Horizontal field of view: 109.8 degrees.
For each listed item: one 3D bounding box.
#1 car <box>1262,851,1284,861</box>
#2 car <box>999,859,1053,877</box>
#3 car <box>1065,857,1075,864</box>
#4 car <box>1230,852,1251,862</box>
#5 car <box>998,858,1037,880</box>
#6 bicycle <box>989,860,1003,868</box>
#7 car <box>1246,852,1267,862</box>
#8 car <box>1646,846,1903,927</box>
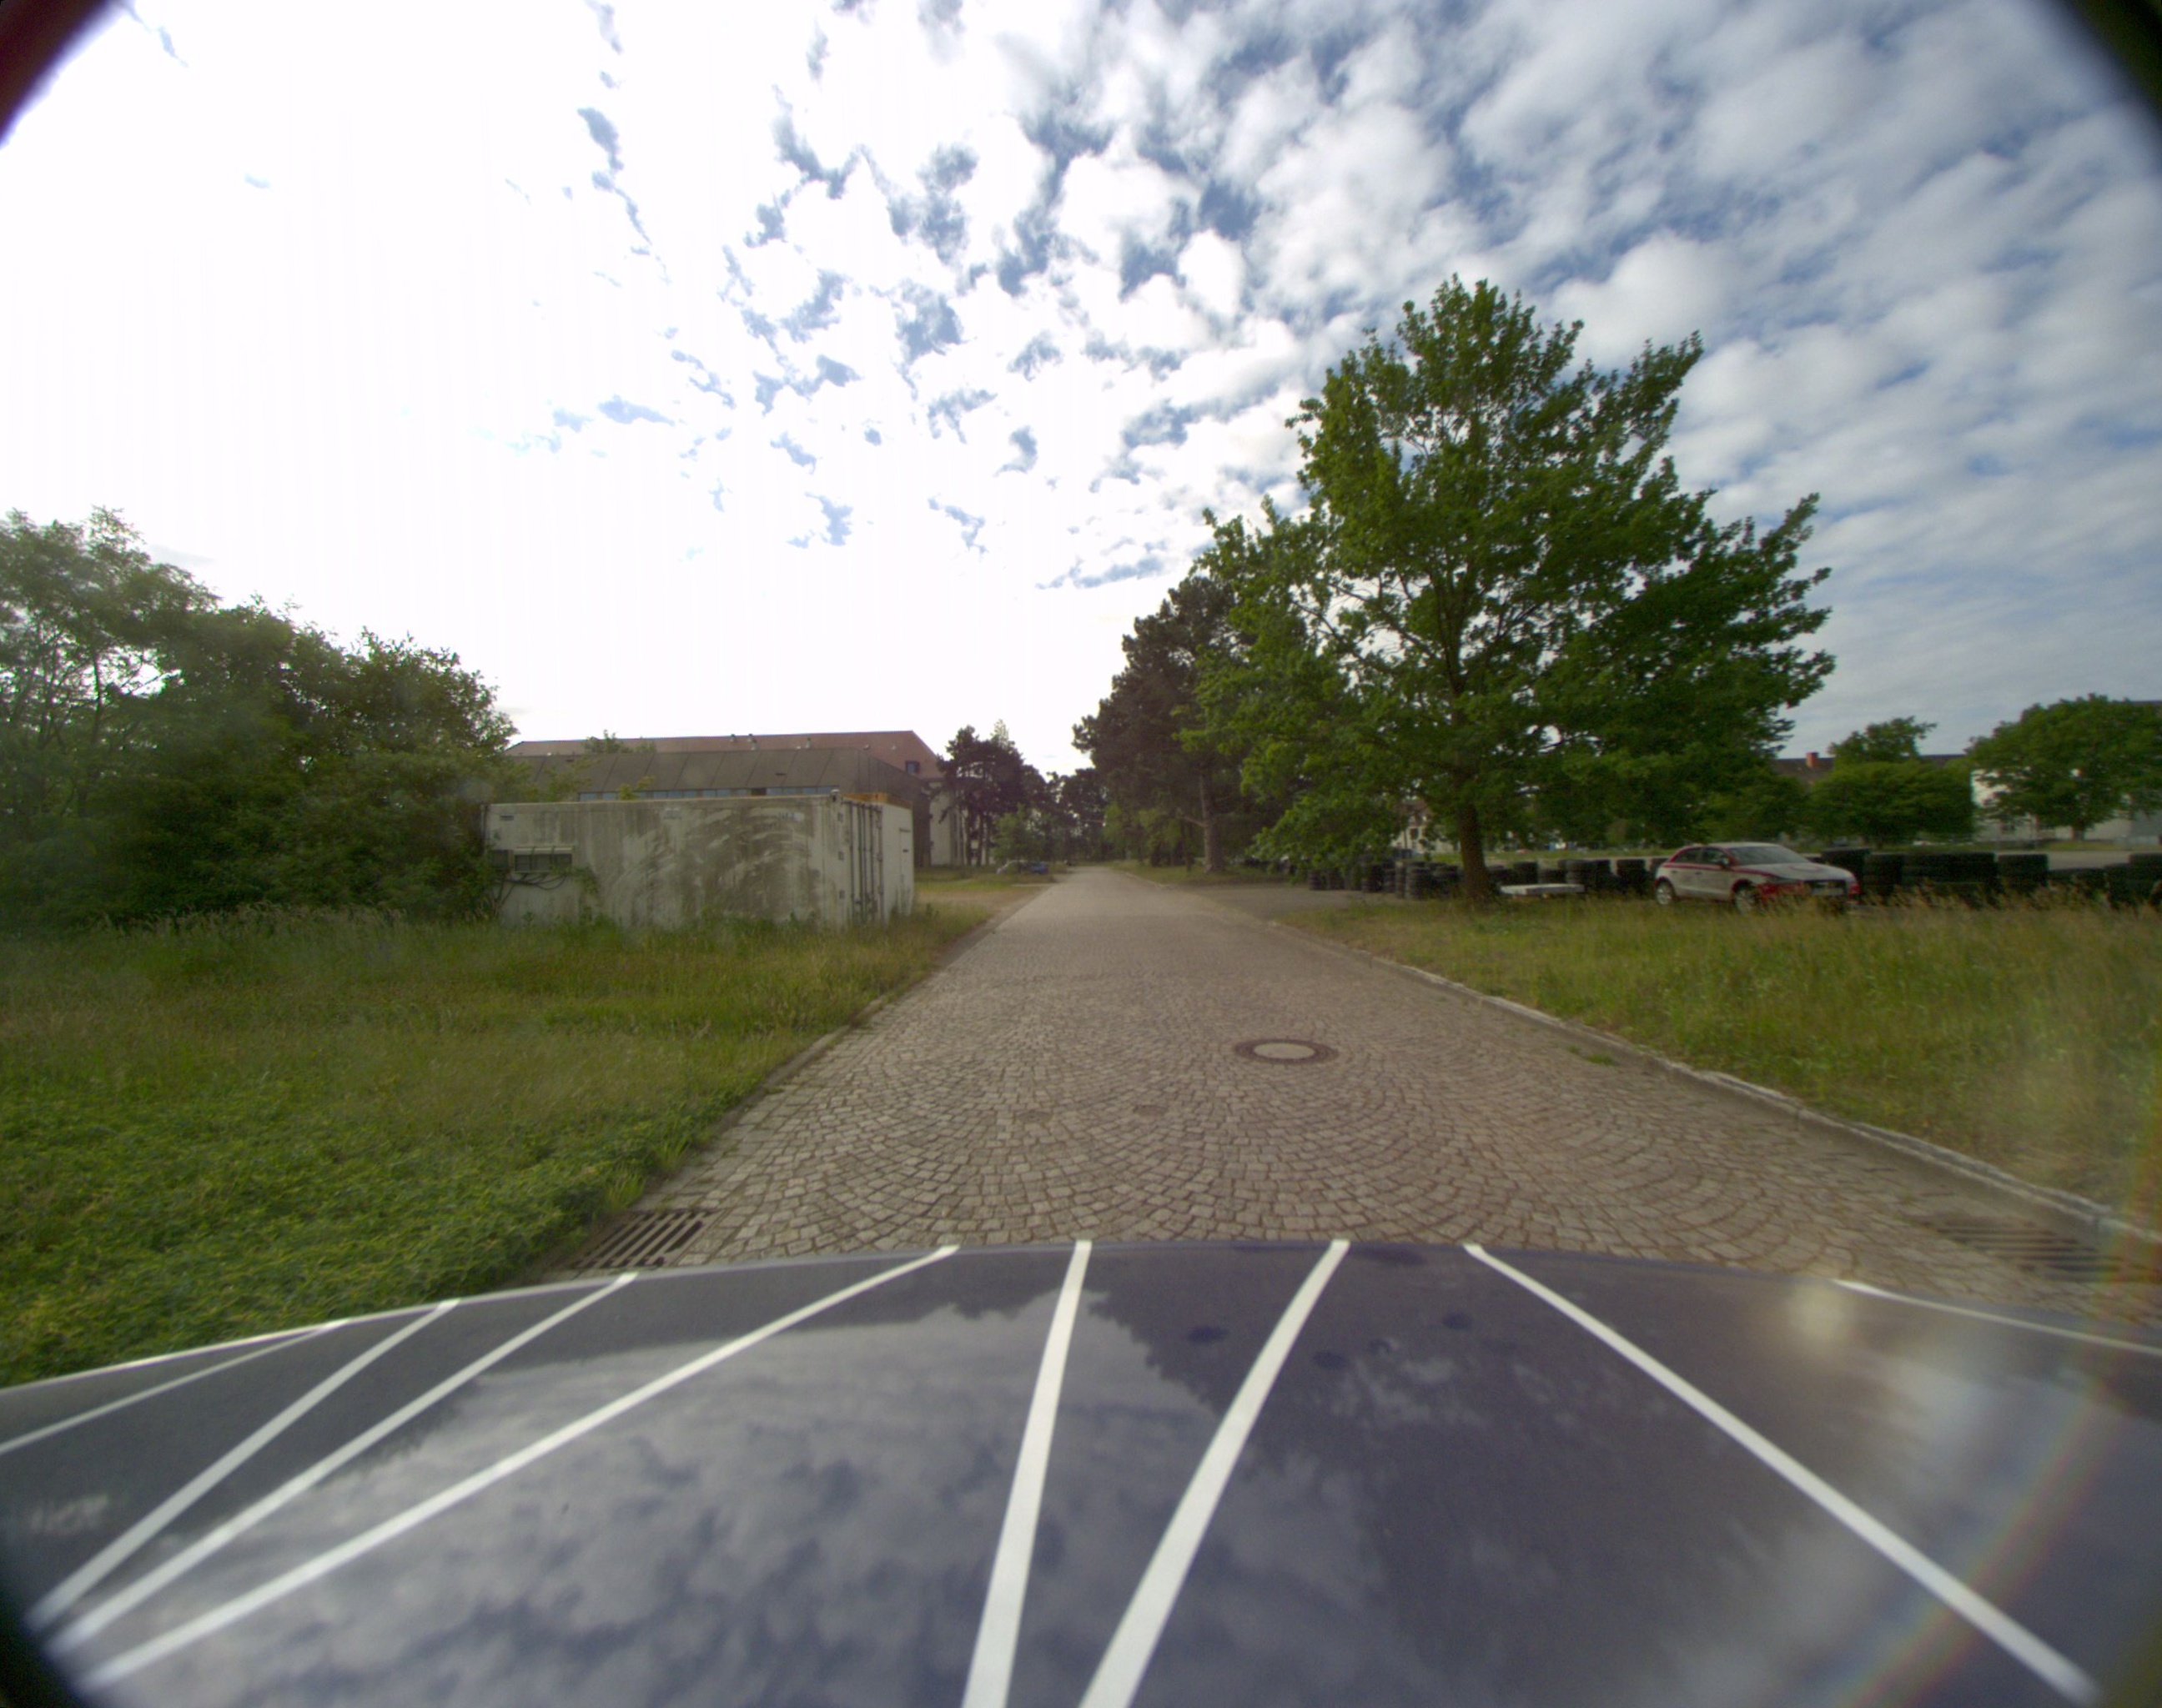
[{"bbox_3d":[29.536,0.354,117.147,1.999,1.441,4.452,-1,0,-3],"label":"car"},{"bbox_3d":[-4.681,1.174,65.129,4.537,1.441,1.932,1,0,-1],"label":"car"},{"bbox_3d":[-2.542,1.560,180.749,1.999,1.777,3.998,-1,0,-5],"label":"car"},{"bbox_3d":[24.441,0.516,116.627,1.999,1.441,4.452,-1,0,-3],"label":"car"},{"bbox_3d":[-4.802,1.144,57.841,2.748,1.573,1.683,1,0,1],"label":"car"},{"bbox_3d":[-13.769,1.624,123.427,2.164,1.088,0.717,-1,0,-3],"label":"bicycle"},{"bbox_3d":[26.953,0.434,117.078,1.999,1.441,4.452,-1,0,-3],"label":"car"},{"bbox_3d":[14.140,0.598,15.898,1.827,1.423,4.221,-1,0,6],"label":"car"}]
